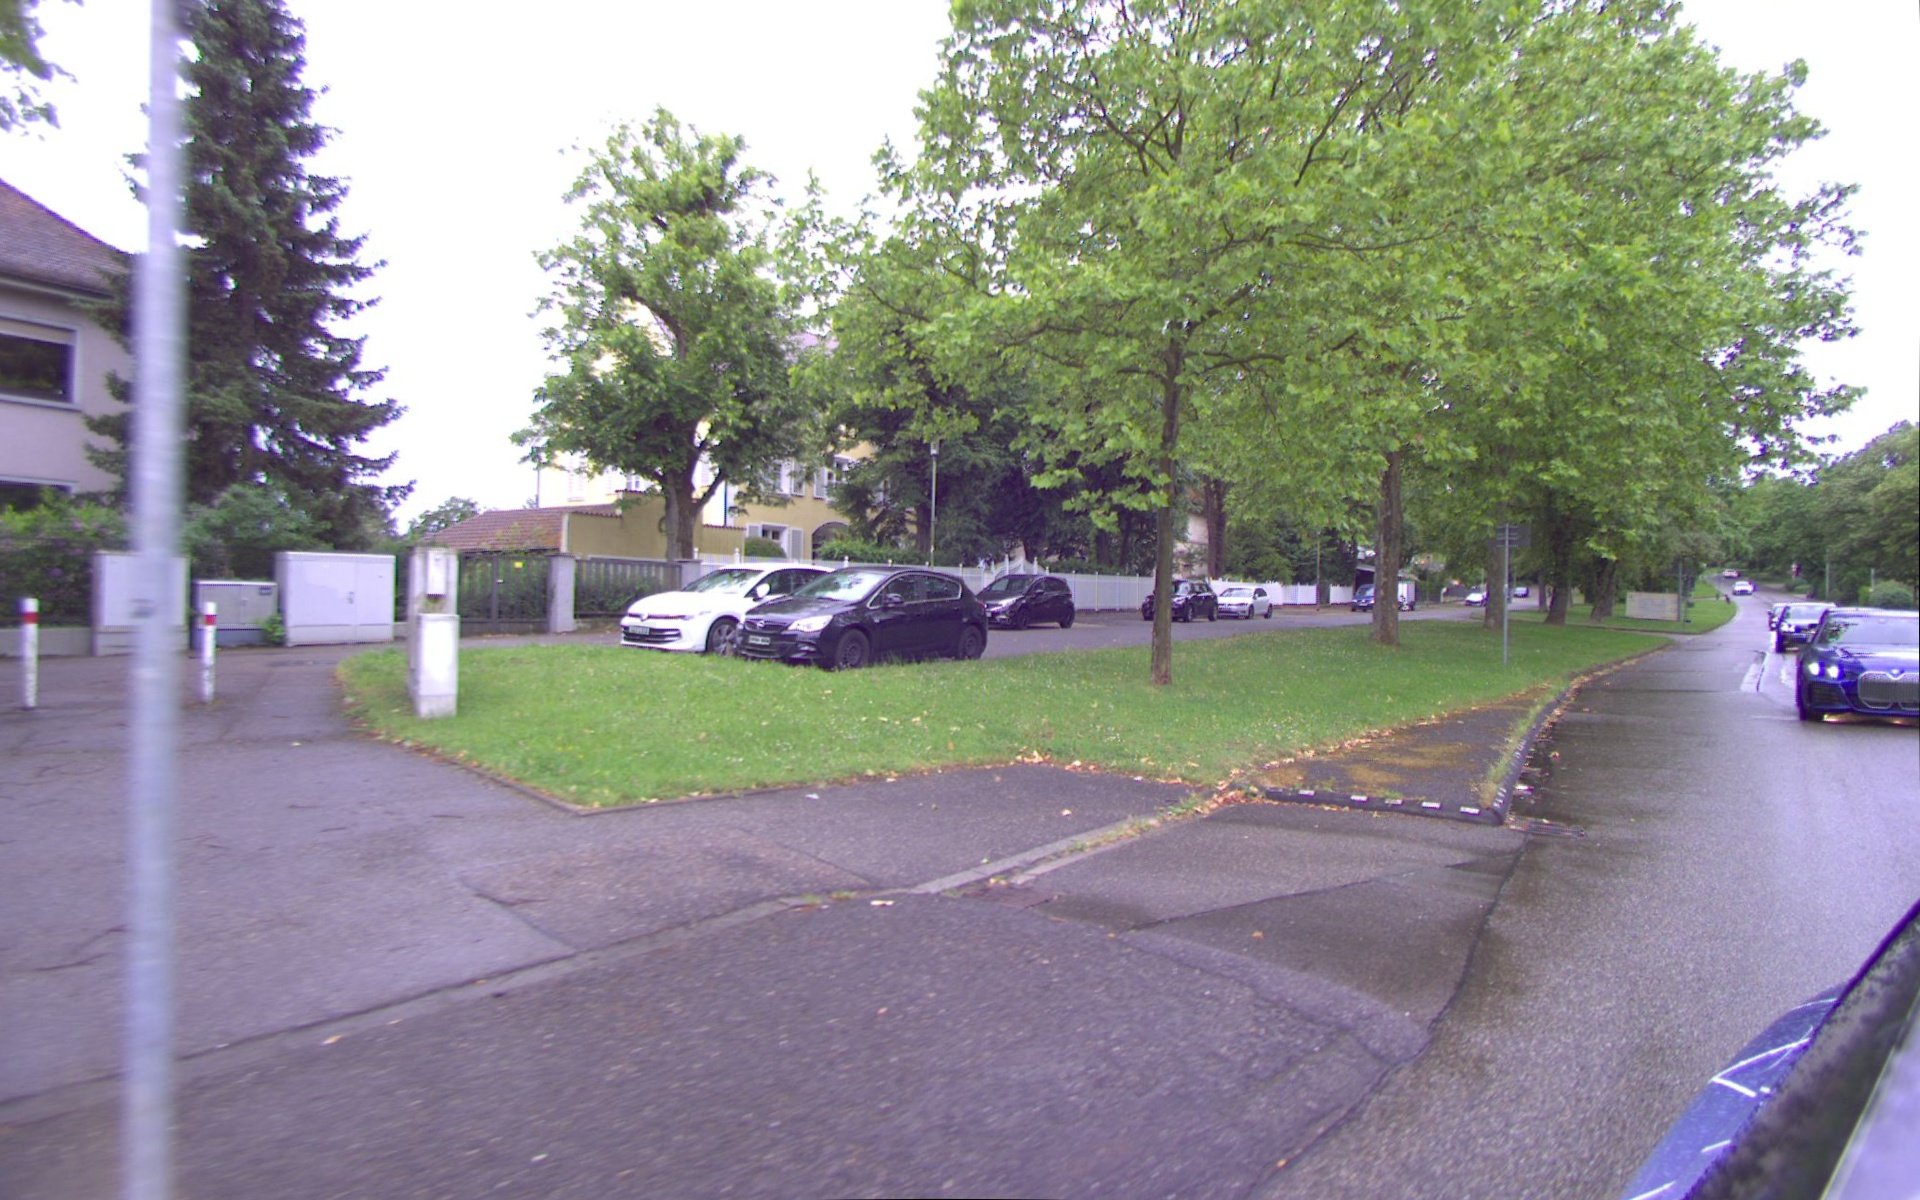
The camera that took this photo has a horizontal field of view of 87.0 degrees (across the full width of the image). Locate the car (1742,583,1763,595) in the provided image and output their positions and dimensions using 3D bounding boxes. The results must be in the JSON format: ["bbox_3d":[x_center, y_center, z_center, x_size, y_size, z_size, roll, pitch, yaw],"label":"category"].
[{"bbox_3d":[101.356,-1.407,129.440,1.820,1.498,4.005,-1,0,43],"label":"car"}]

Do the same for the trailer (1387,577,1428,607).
[{"bbox_3d":[32.729,-0.568,73.962,1.761,2.143,5.128,-1,0,35],"label":"trailer"}]

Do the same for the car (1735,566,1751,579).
[{"bbox_3d":[129.225,-4.507,167.004,1.989,2.038,4.512,3,2,37],"label":"car"}]

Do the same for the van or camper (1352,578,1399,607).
[{"bbox_3d":[27.194,-0.483,66.158,1.985,1.831,4.720,-1,0,33],"label":"van or camper"}]

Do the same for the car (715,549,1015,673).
[{"bbox_3d":[-1.199,0.090,14.776,1.761,1.489,4.536,3,3,37],"label":"car"}]

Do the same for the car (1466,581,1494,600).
[{"bbox_3d":[55.768,-1.019,108.449,1.989,2.038,3.946,2,2,37],"label":"car"}]

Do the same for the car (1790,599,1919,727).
[{"bbox_3d":[12.686,0.756,13.820,1.816,1.498,4.015,-1,0,36],"label":"car"}]

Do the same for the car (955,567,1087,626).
[{"bbox_3d":[1.812,-0.091,28.689,1.753,1.490,4.304,-3,-1,34],"label":"car"}]

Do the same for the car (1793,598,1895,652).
[{"bbox_3d":[26.531,0.699,30.510,2.022,1.498,4.013,0,0,37],"label":"car"}]

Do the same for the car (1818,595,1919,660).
[{"bbox_3d":[23.311,0.642,25.888,1.817,1.498,4.013,-1,0,37],"label":"car"}]

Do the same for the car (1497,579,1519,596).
[{"bbox_3d":[69.465,-1.543,128.315,1.988,2.038,3.949,2,1,36],"label":"car"}]

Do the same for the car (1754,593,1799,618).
[{"bbox_3d":[51.827,0.338,64.217,4.001,1.498,1.822,-1,0,-45],"label":"car"}]

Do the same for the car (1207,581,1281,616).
[{"bbox_3d":[12.660,-0.071,44.926,1.986,1.467,4.074,-1,0,34],"label":"car"}]

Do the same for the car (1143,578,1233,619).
[{"bbox_3d":[8.785,-0.069,38.778,1.986,1.490,4.074,-1,0,34],"label":"car"}]

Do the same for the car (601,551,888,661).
[{"bbox_3d":[-3.258,0.036,16.123,1.841,1.489,4.368,2,2,36],"label":"car"}]
